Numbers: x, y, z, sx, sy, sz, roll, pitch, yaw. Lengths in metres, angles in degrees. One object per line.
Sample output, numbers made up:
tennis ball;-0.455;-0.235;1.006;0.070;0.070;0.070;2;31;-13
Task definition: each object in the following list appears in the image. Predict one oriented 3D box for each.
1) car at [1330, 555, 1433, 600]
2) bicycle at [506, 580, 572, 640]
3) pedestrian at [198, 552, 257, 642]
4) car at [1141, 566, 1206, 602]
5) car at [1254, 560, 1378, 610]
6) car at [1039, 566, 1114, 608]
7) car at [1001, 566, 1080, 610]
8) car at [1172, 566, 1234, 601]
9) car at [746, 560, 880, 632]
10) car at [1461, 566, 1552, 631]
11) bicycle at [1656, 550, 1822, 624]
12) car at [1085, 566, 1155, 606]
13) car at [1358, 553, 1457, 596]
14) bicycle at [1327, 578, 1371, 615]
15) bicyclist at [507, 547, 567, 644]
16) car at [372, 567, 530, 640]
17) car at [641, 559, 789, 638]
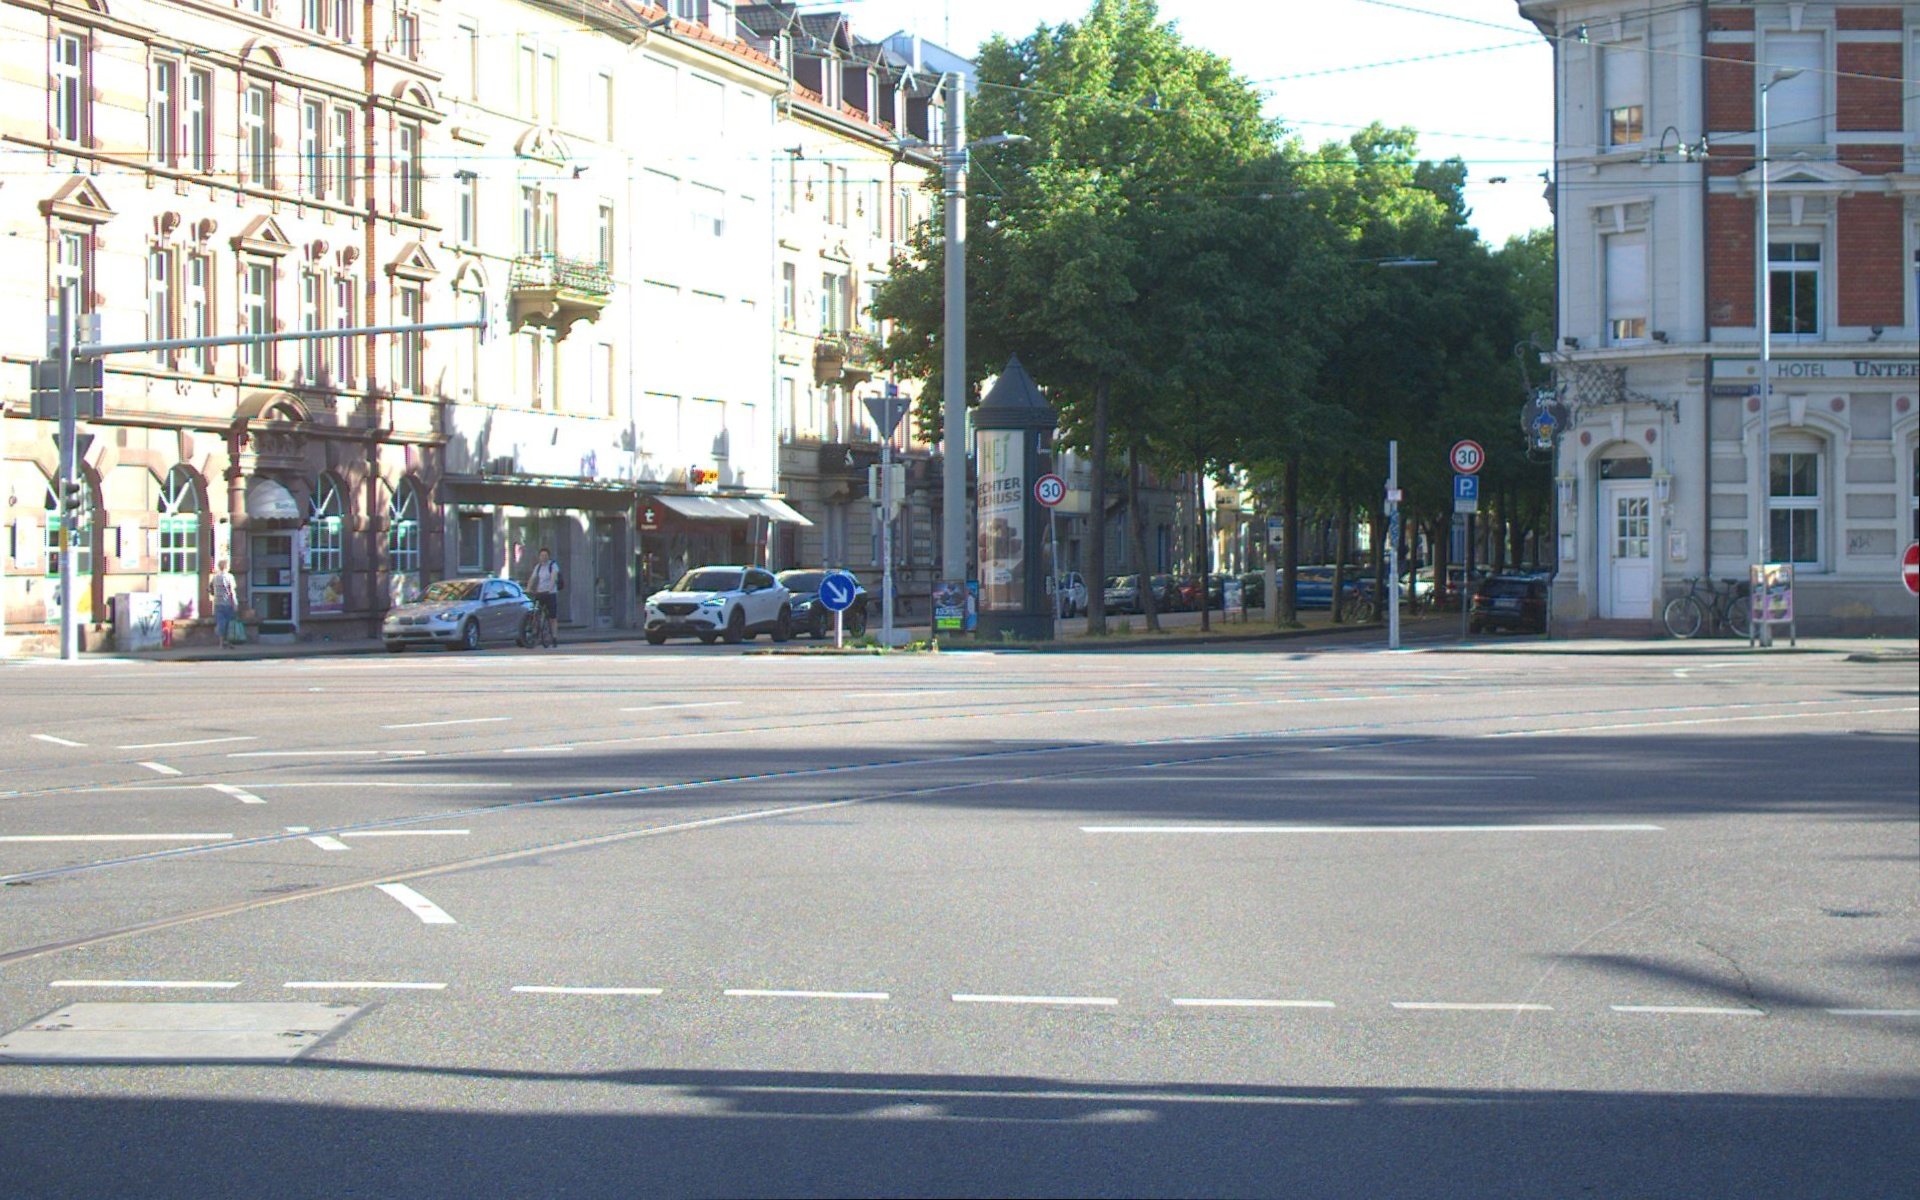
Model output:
car;15.710;-0.850;128.035;3.582;1.642;1.681;0;1;17
bicycle;-7.980;0.183;65.266;0.702;1.114;1.634;1;1;13
pedestrian;-13.836;-0.060;64.915;0.776;1.664;0.830;1;0;15
car;8.137;-0.618;130.749;1.678;1.349;3.588;0;1;17
car;11.989;-0.513;115.680;3.905;1.642;1.681;0;1;17
car;3.931;-0.446;115.481;1.678;1.349;3.588;0;1;17
car;2.633;-0.403;111.324;1.678;1.349;3.588;0;1;17
car;9.609;-0.657;135.779;1.678;1.349;3.588;0;1;17
car;-3.121;-0.104;73.616;1.678;1.478;3.945;0;1;16
car;13.148;-0.060;82.576;1.678;1.478;3.945;0;1;16
bicycle;12.968;-0.210;57.277;2.554;1.170;0.819;1;0;-3
car;5.701;-0.508;122.443;1.678;1.349;3.588;0;1;17
car;17.384;-1.004;133.509;3.582;1.642;1.681;0;1;17
bicycle;11.259;-0.107;99.486;0.636;1.018;1.847;1;1;-14
bicyclist;-8.016;-0.090;65.140;0.779;1.797;1.055;1;0;14
car;-9.873;0.054;66.911;1.678;1.349;3.588;0;1;17
car;-4.763;-0.054;67.315;1.678;1.478;3.768;0;1;17
